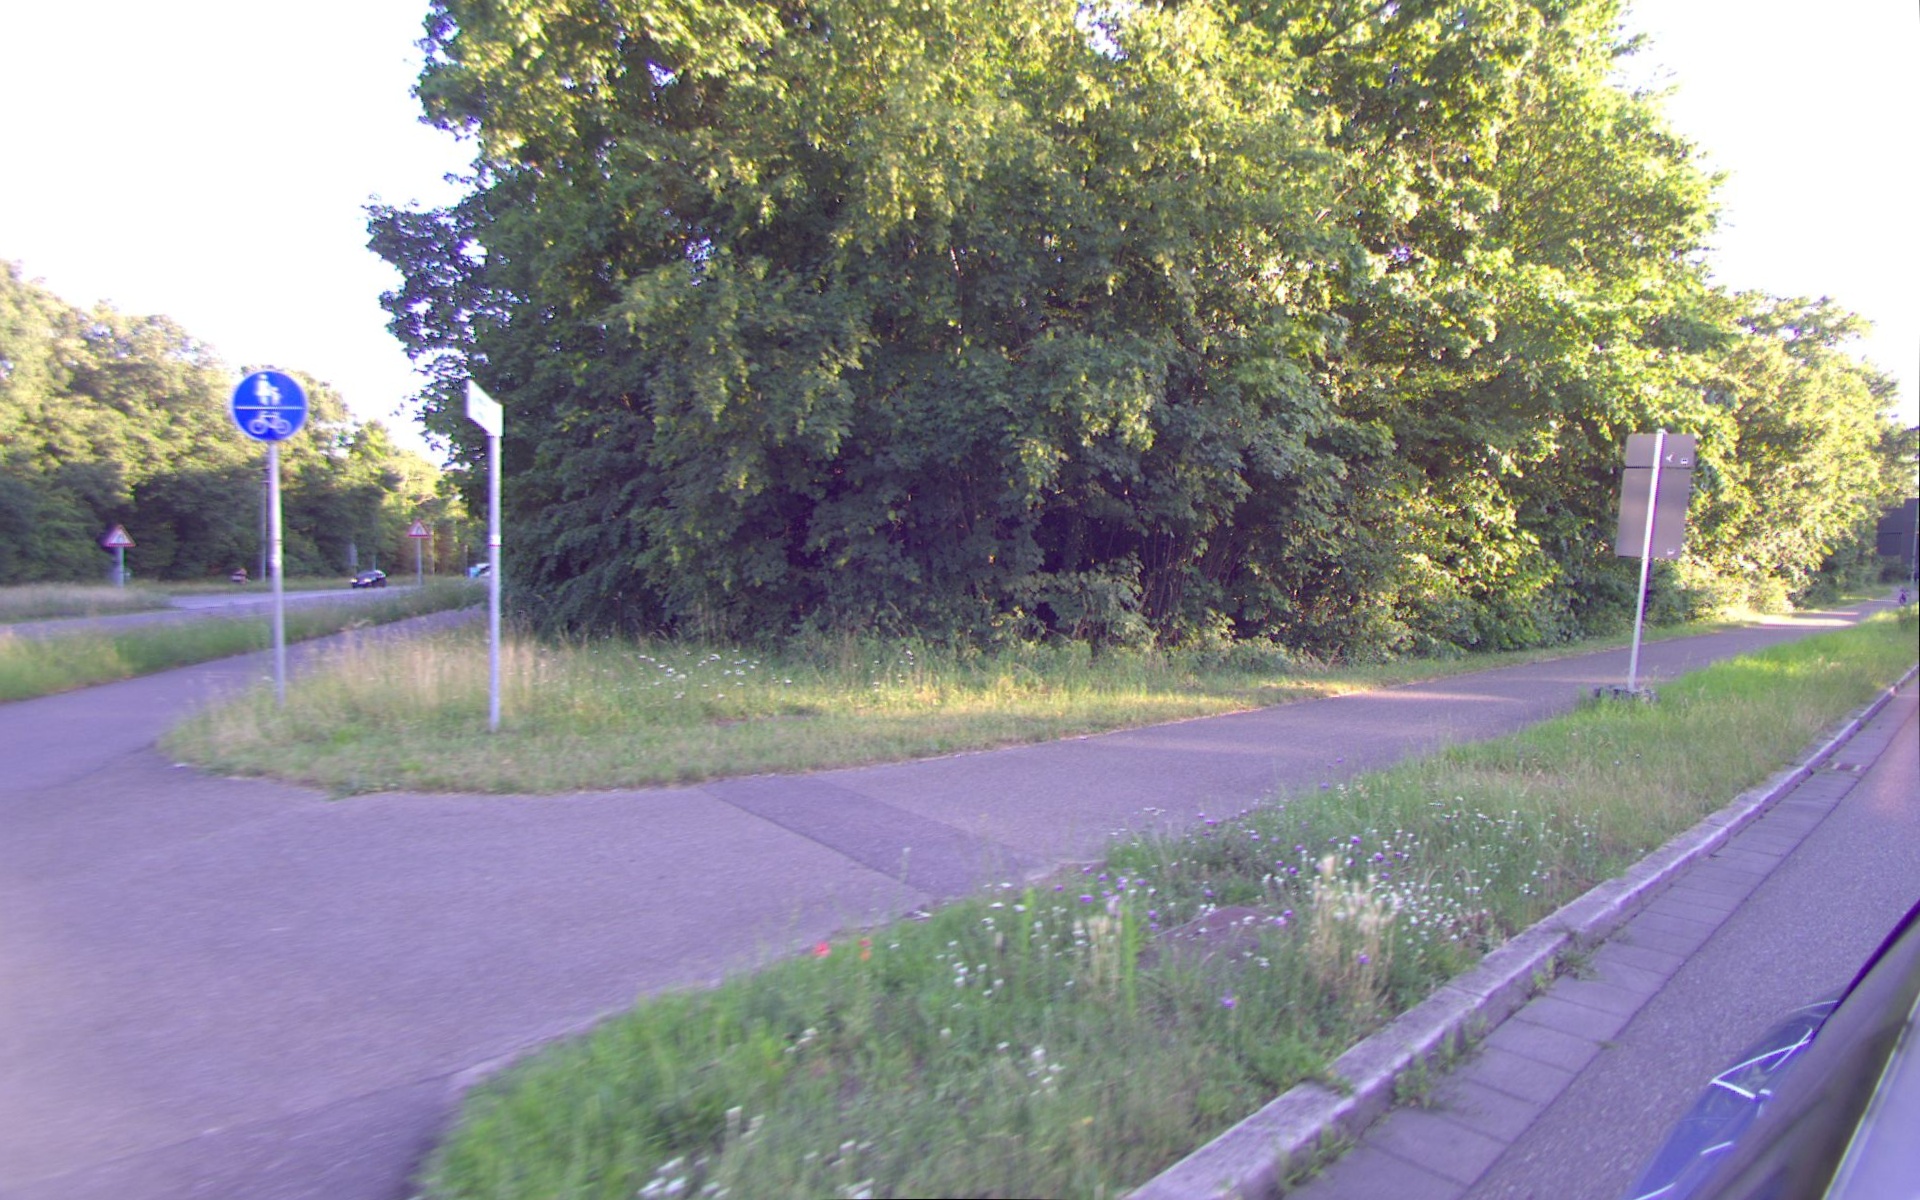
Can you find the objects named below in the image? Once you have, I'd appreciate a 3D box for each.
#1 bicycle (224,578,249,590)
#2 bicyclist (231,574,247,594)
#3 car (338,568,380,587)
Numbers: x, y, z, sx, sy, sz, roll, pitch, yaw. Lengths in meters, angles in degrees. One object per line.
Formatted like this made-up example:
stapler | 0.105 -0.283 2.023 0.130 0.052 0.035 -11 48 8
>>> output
bicycle | -55.454 -1.233 77.603 0.576 0.814 1.960 -1 2 -2
bicyclist | -55.418 -1.234 77.780 0.576 1.447 0.823 -1 1 -2
car | -50.441 -1.912 85.010 1.787 1.552 4.465 -2 2 -15
